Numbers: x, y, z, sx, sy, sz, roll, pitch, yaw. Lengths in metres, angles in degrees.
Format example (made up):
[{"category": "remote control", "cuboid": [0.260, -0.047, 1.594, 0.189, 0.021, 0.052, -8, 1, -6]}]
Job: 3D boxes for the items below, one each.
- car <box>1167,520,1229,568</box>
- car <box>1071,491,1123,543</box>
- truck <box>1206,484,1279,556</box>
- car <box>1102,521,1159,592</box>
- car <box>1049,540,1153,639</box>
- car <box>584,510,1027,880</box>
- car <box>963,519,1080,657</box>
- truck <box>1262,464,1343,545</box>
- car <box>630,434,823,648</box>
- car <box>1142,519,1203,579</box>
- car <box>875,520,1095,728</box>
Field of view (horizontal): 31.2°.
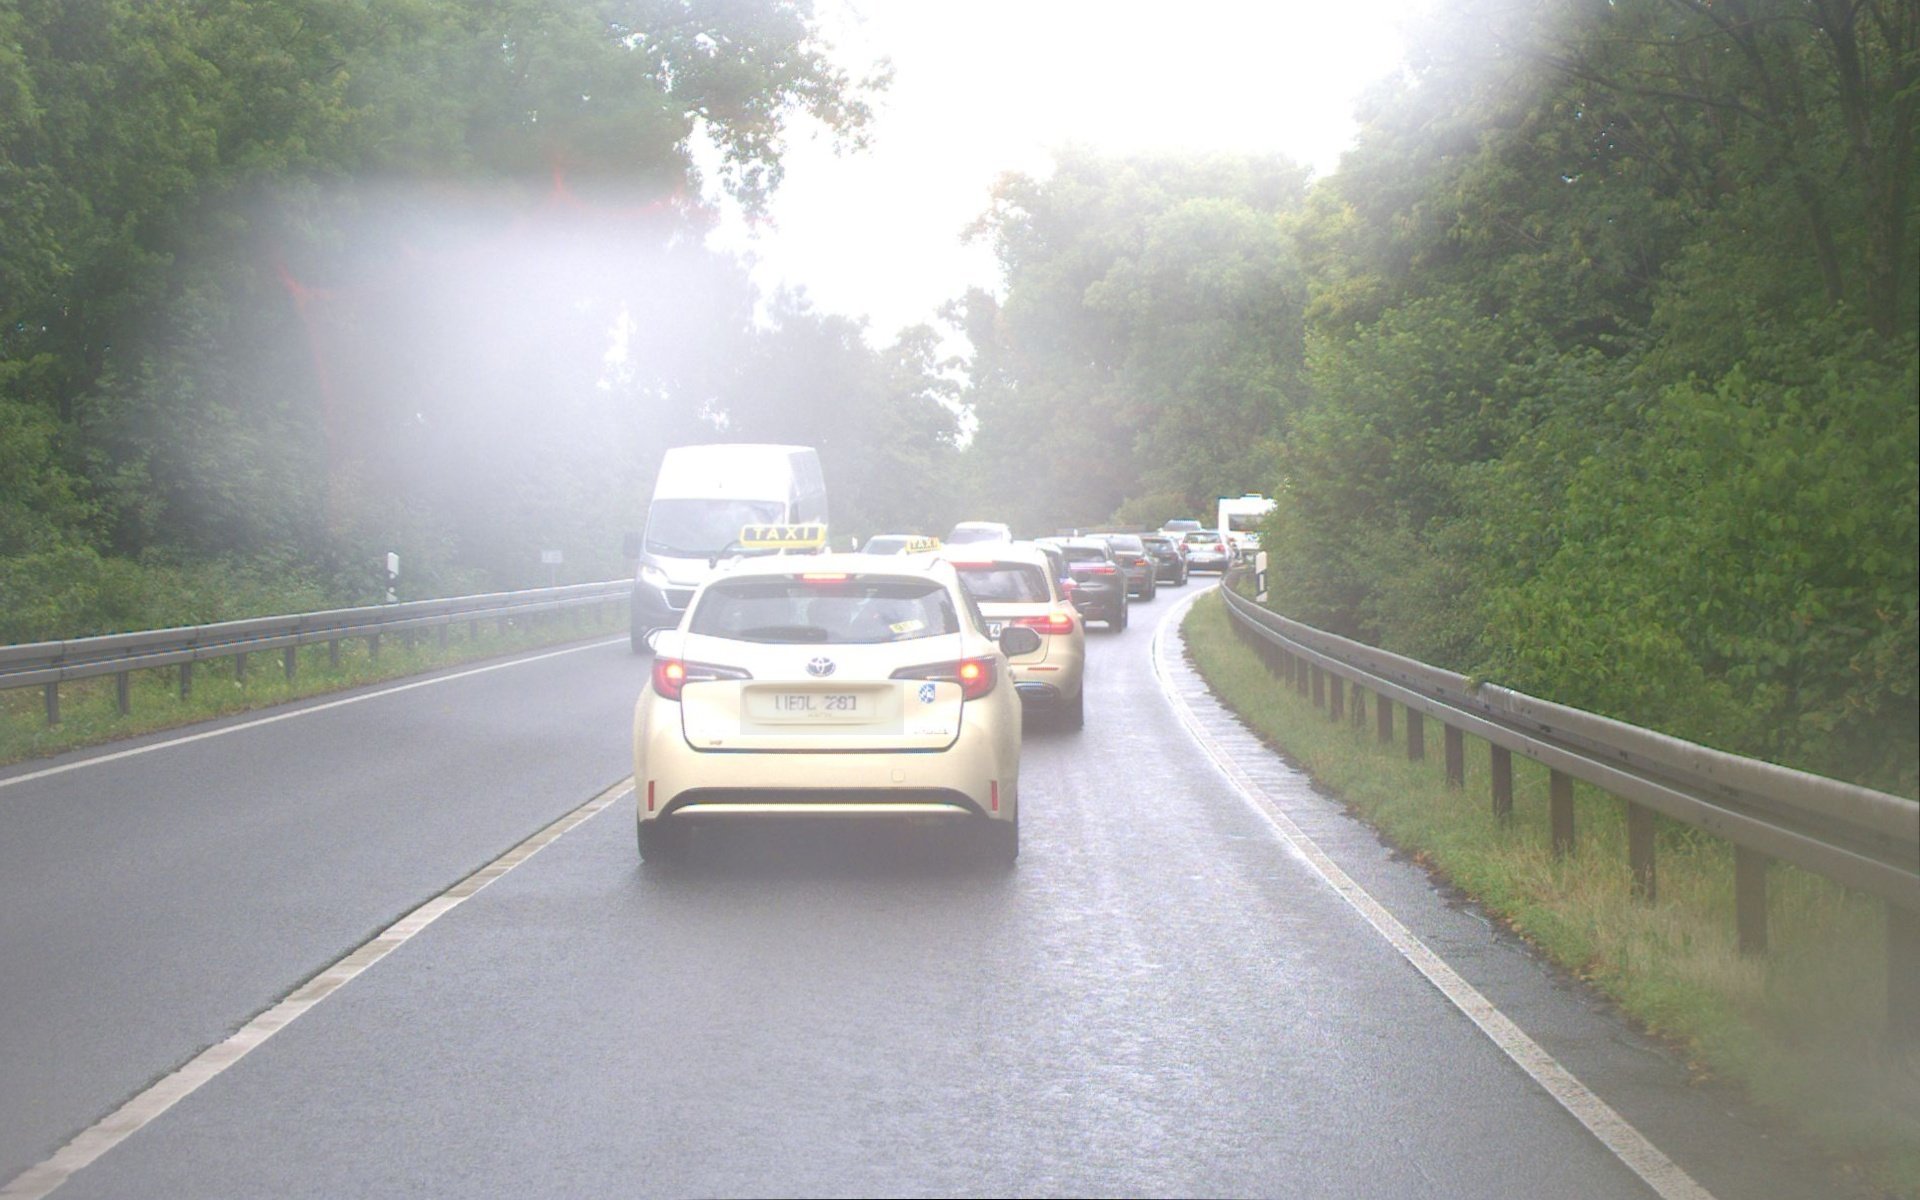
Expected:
[{"category": "car", "cuboid": [7.844, -1.827, 113.124, 1.770, 1.541, 3.813, 1, 0, 7]}, {"category": "car", "cuboid": [5.555, -3.334, 139.117, 1.994, 2.007, 3.999, 1, 0, 4]}, {"category": "truck", "cuboid": [11.193, -3.131, 136.589, 2.550, 2.704, 7.534, 1, 0, 2]}, {"category": "car", "cuboid": [3.785, -0.959, 76.011, 1.167, 1.541, 2.604, 1, 0, 5]}, {"category": "car", "cuboid": [2.252, -0.175, 55.663, 1.611, 1.541, 3.814, 0, 0, 1]}, {"category": "car", "cuboid": [-0.630, 0.396, 16.936, 1.834, 1.575, 4.156, 1, 0, 2]}, {"category": "car", "cuboid": [0.694, -0.147, 40.367, 1.300, 1.541, 3.260, 1, 0, 0]}, {"category": "truck", "cuboid": [16.391, -4.533, 164.198, 3.109, 3.668, 6.996, 1, 0, 12]}, {"category": "car", "cuboid": [-3.040, -0.755, 46.019, 2.048, 2.667, 6.171, 0, 0, 1]}, {"category": "car", "cuboid": [5.850, -1.382, 94.368, 1.616, 1.607, 3.621, 1, 0, 4]}, {"category": "car", "cuboid": [0.249, 0.170, 28.289, 1.667, 1.575, 3.892, 1, 0, 2]}]
